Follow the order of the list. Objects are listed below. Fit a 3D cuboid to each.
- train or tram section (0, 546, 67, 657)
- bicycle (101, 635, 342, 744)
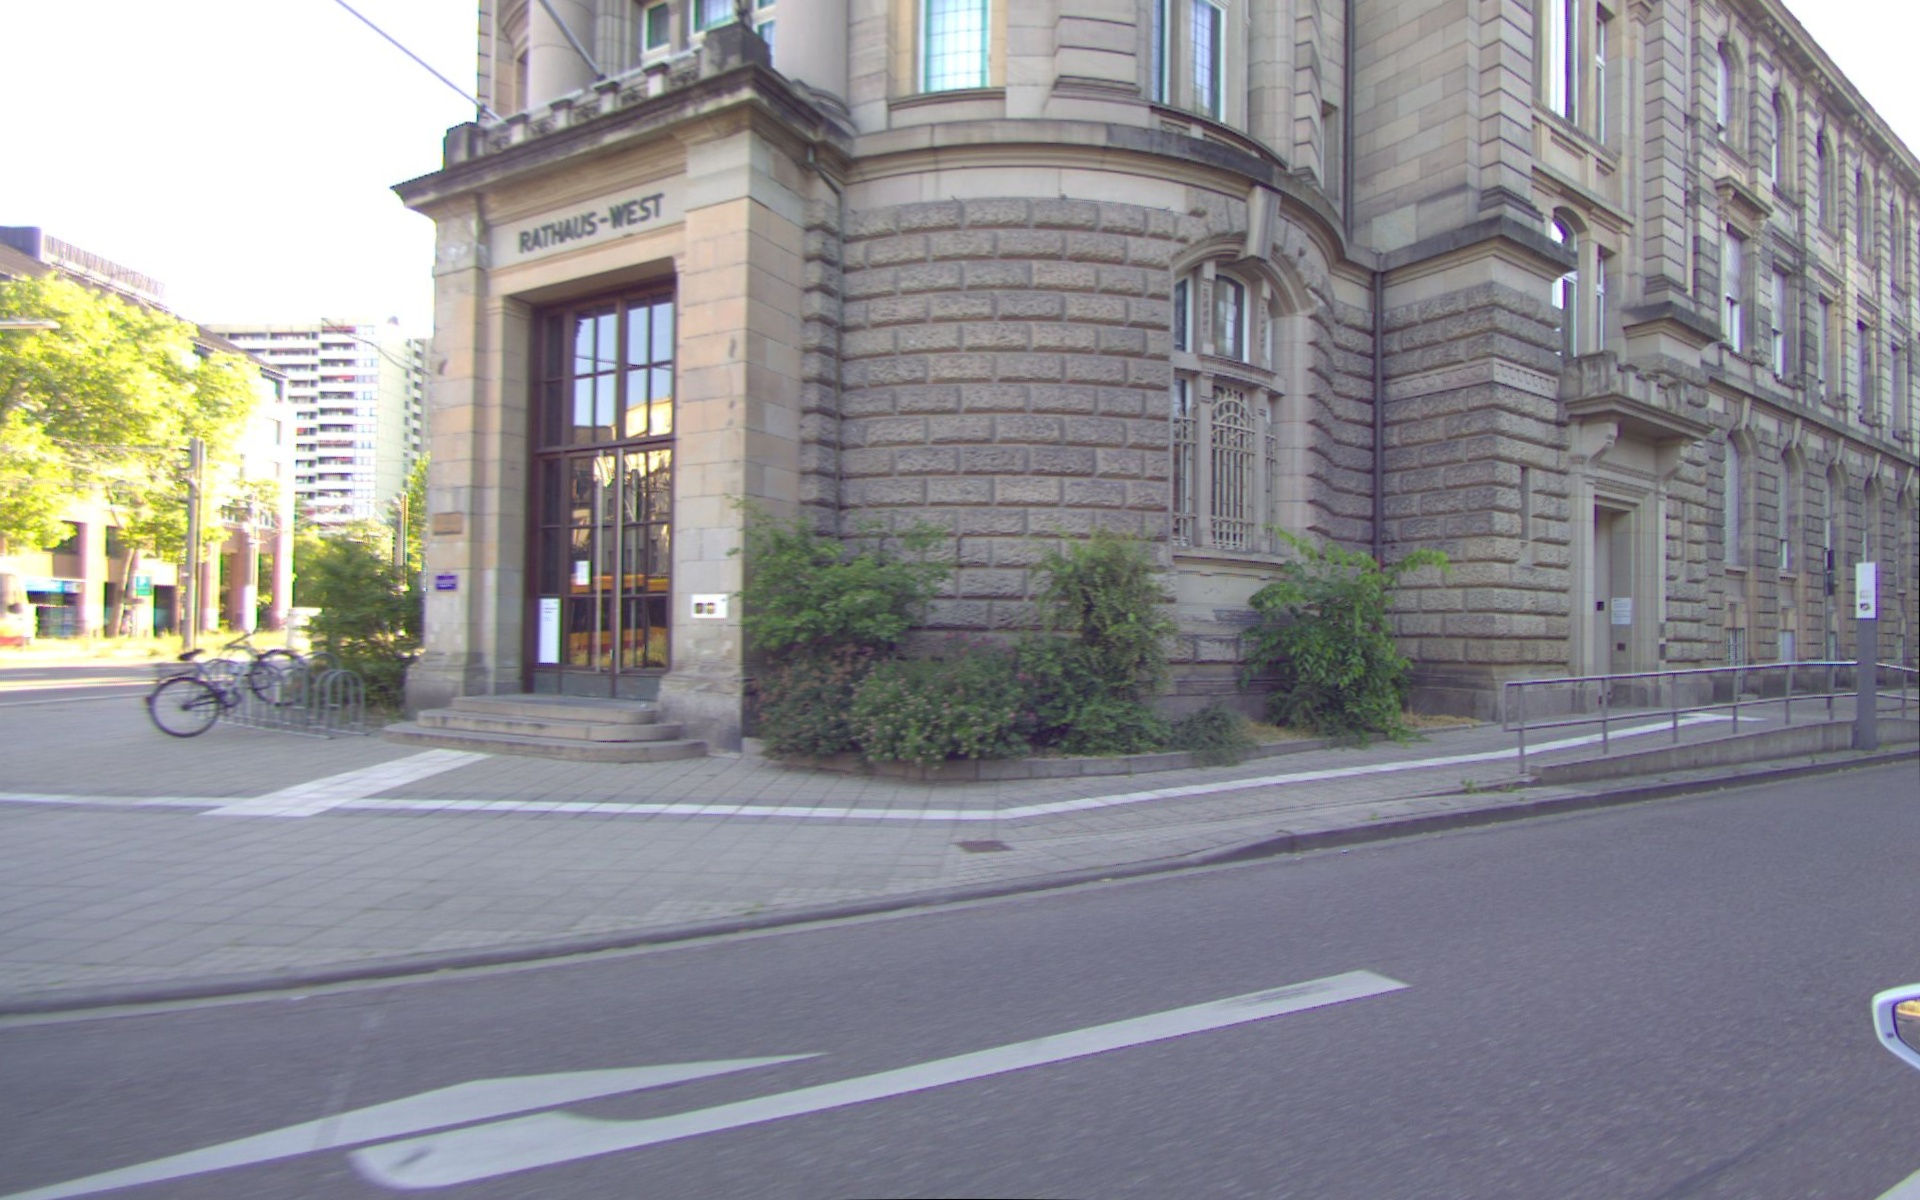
[{"bbox_3d":[-33.792,-0.235,25.077,3.059,3.606,19.948,0,-2,8],"label":"train or tram section"},{"bbox_3d":[-8.989,1.039,12.366,0.853,1.212,2.238,0,-2,25],"label":"bicycle"}]
